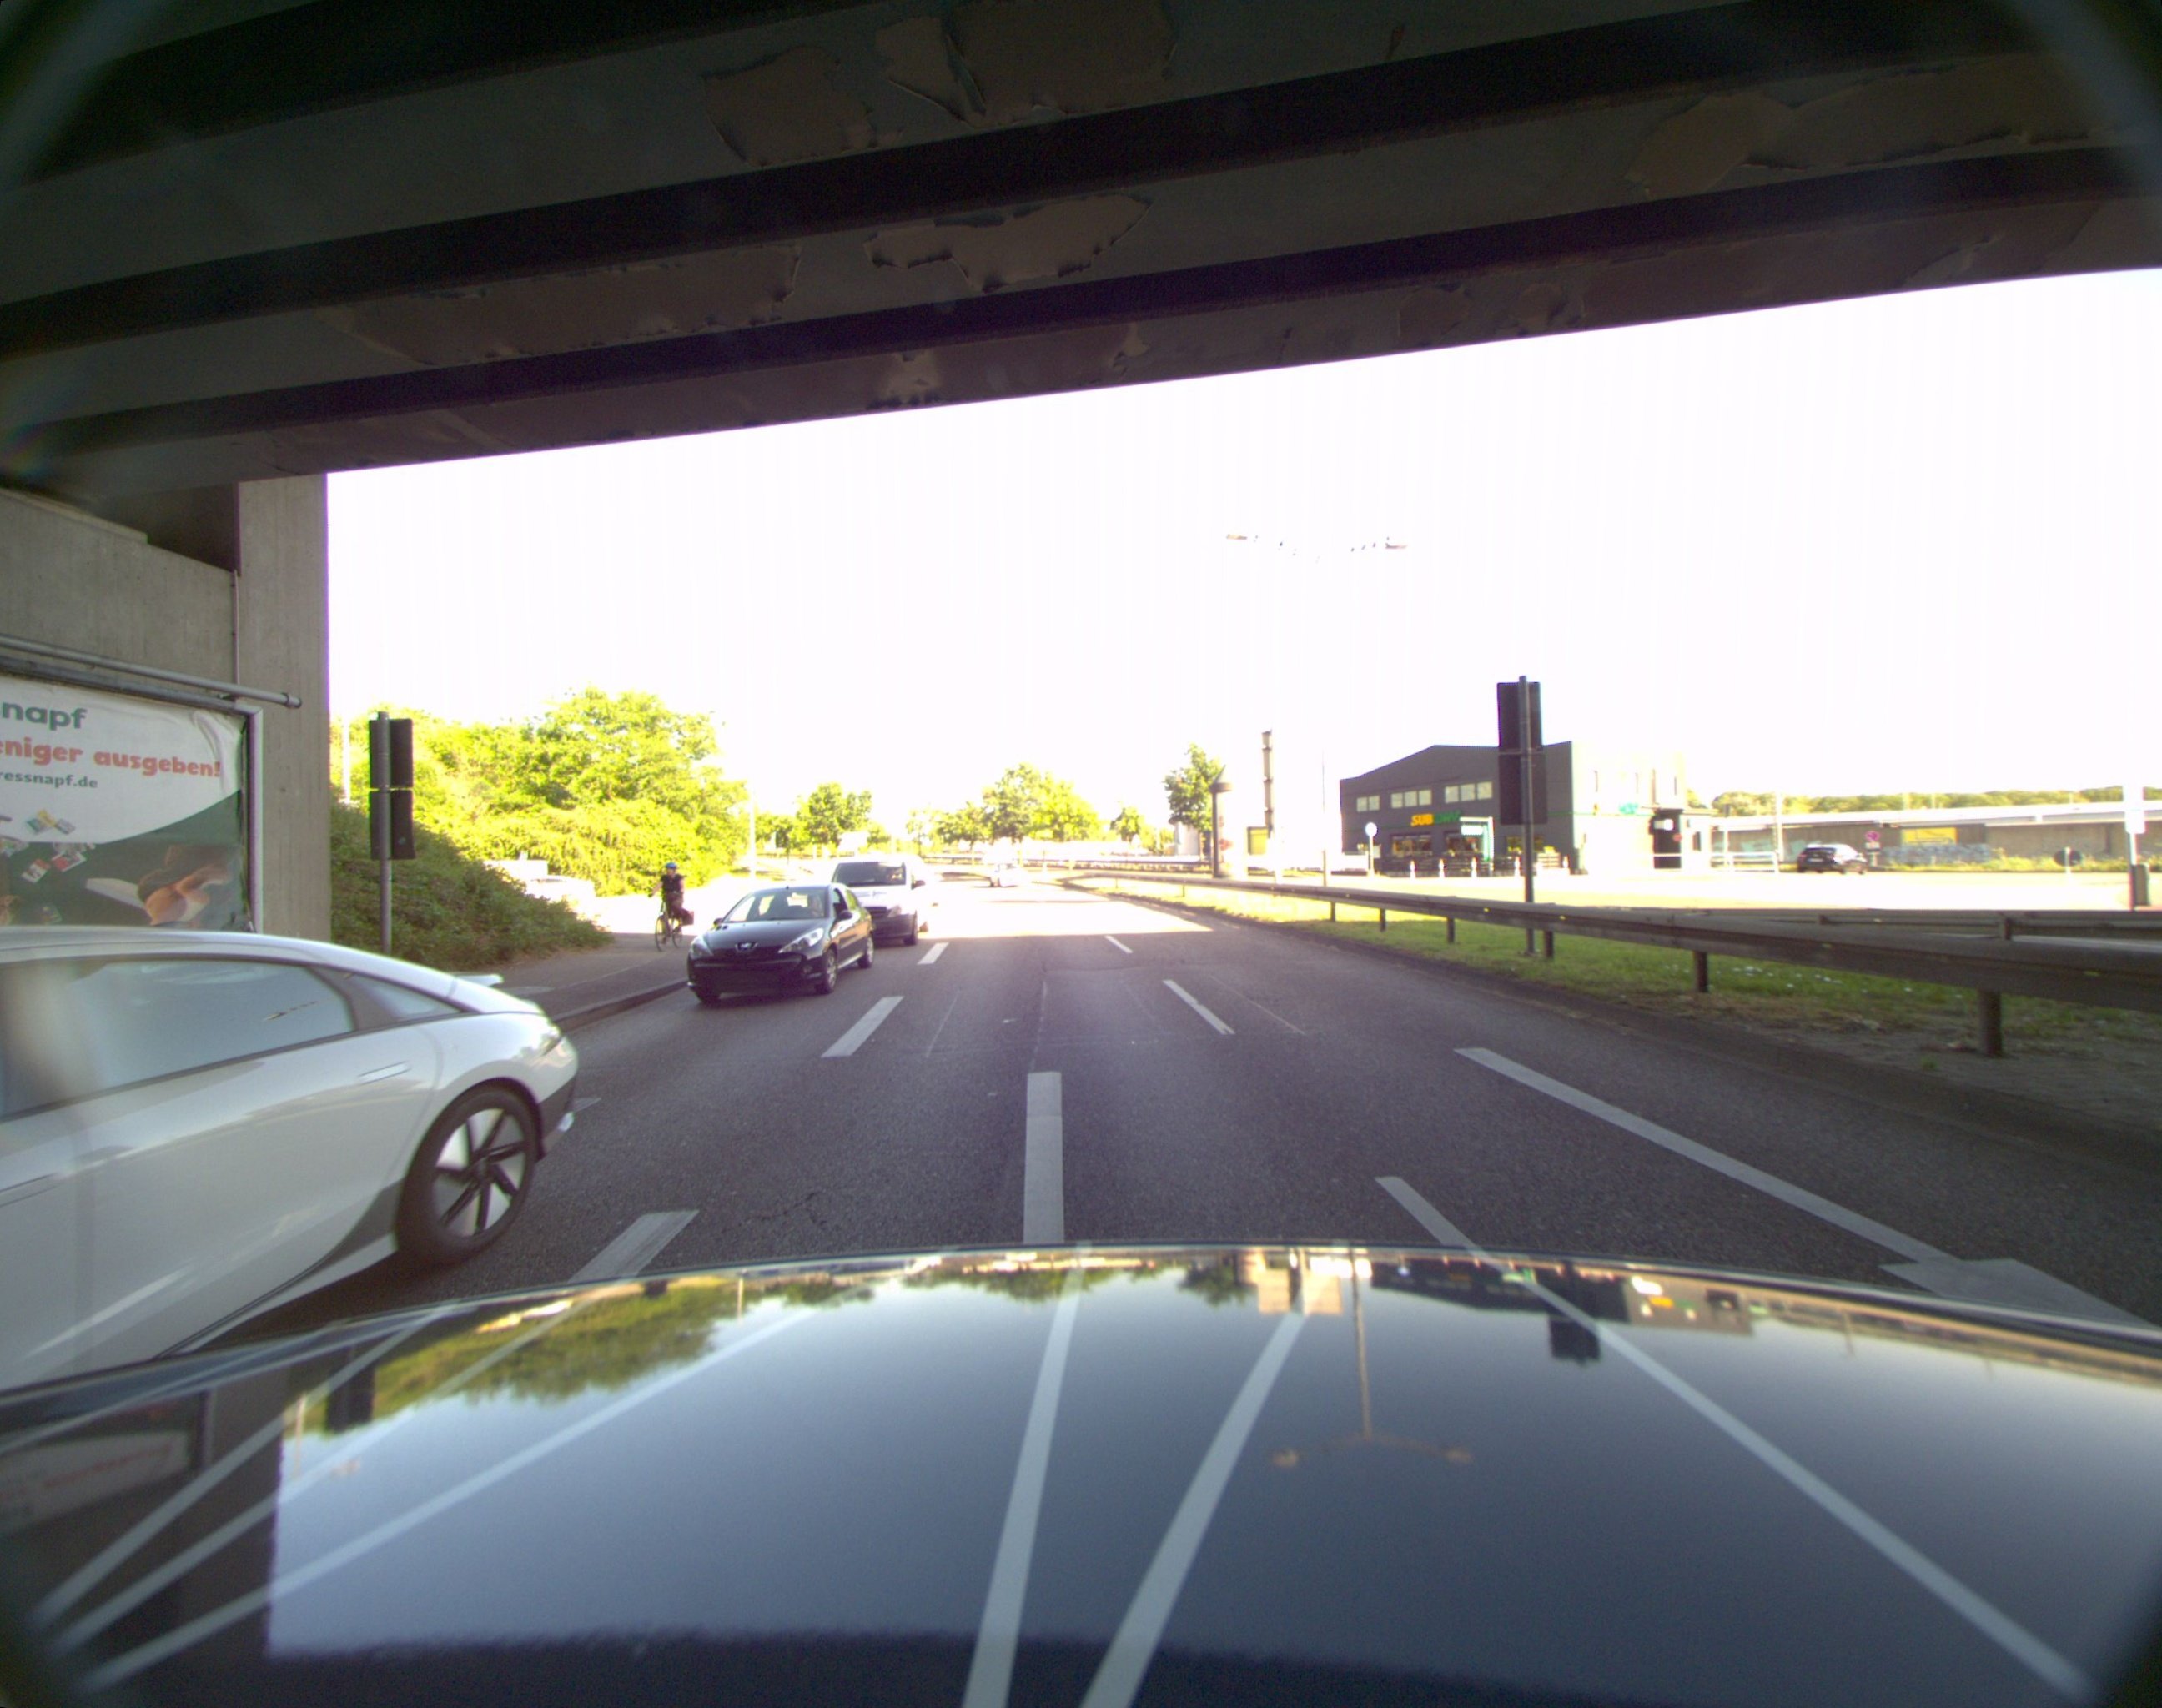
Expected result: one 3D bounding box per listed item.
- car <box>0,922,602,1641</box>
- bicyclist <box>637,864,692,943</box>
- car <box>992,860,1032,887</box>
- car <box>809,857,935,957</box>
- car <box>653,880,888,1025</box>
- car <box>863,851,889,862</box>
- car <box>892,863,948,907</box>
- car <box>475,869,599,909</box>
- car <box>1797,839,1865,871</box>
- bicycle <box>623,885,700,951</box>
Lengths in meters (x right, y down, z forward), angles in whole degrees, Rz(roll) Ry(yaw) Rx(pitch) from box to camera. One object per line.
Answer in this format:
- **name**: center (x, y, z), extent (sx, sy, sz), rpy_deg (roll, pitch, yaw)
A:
- **car**: center (-3.370, 1.109, 1.615), extent (1.750, 1.447, 4.663), rpy_deg (-2, 0, -1)
- **bicyclist**: center (-8.253, 0.968, 15.086), extent (0.655, 1.524, 0.846), rpy_deg (1, -1, -6)
- **car**: center (-4.178, 1.127, 45.536), extent (1.738, 1.396, 3.866), rpy_deg (-2, 1, -14)
- **car**: center (-4.423, 1.006, 16.812), extent (1.903, 1.825, 4.832), rpy_deg (-2, 0, -7)
- **car**: center (-3.994, 1.178, 10.484), extent (1.750, 1.447, 3.716), rpy_deg (-2, 0, -2)
- **car**: center (-29.853, 0.363, 110.681), extent (1.810, 1.597, 4.284), rpy_deg (-2, 1, -44)
- **car**: center (-6.552, 1.201, 31.273), extent (2.000, 1.542, 4.417), rpy_deg (-2, 0, -9)
- **car**: center (-25.011, 1.571, 35.112), extent (4.542, 1.586, 1.815), rpy_deg (-2, 0, -34)
- **car**: center (38.432, 0.042, 38.931), extent (4.007, 1.434, 1.878), rpy_deg (-3, 1, -37)
- **bicycle**: center (-8.250, 1.226, 15.017), extent (0.653, 1.160, 1.777), rpy_deg (1, -1, -5)
